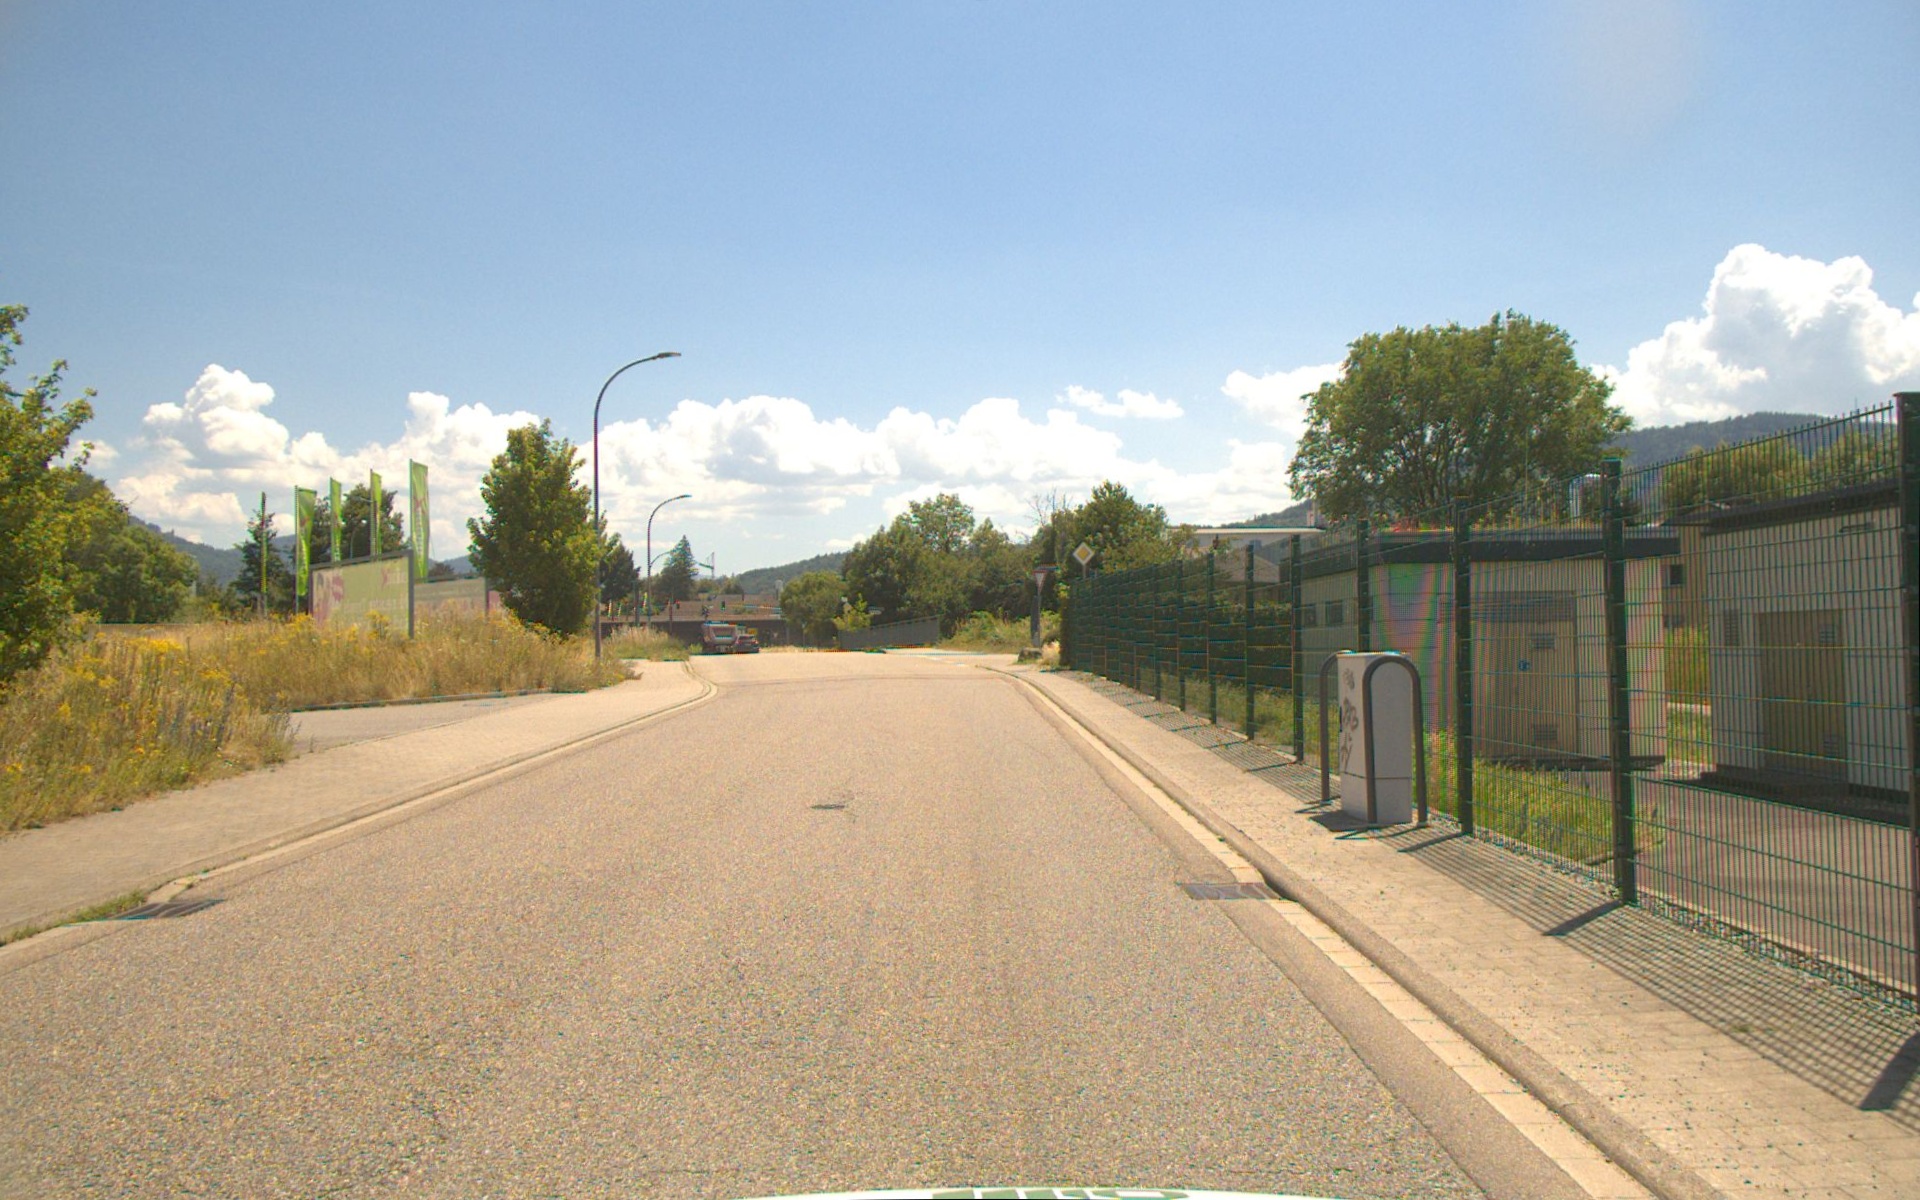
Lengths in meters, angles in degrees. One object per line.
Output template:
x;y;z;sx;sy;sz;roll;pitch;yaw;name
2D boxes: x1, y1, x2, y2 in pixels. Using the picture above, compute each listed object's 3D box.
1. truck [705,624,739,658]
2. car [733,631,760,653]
-20.622;3.503;143.002;2.635;2.821;6.073;0;0;-11;truck
-15.651;3.062;121.271;1.744;1.473;3.442;0;0;-11;car
